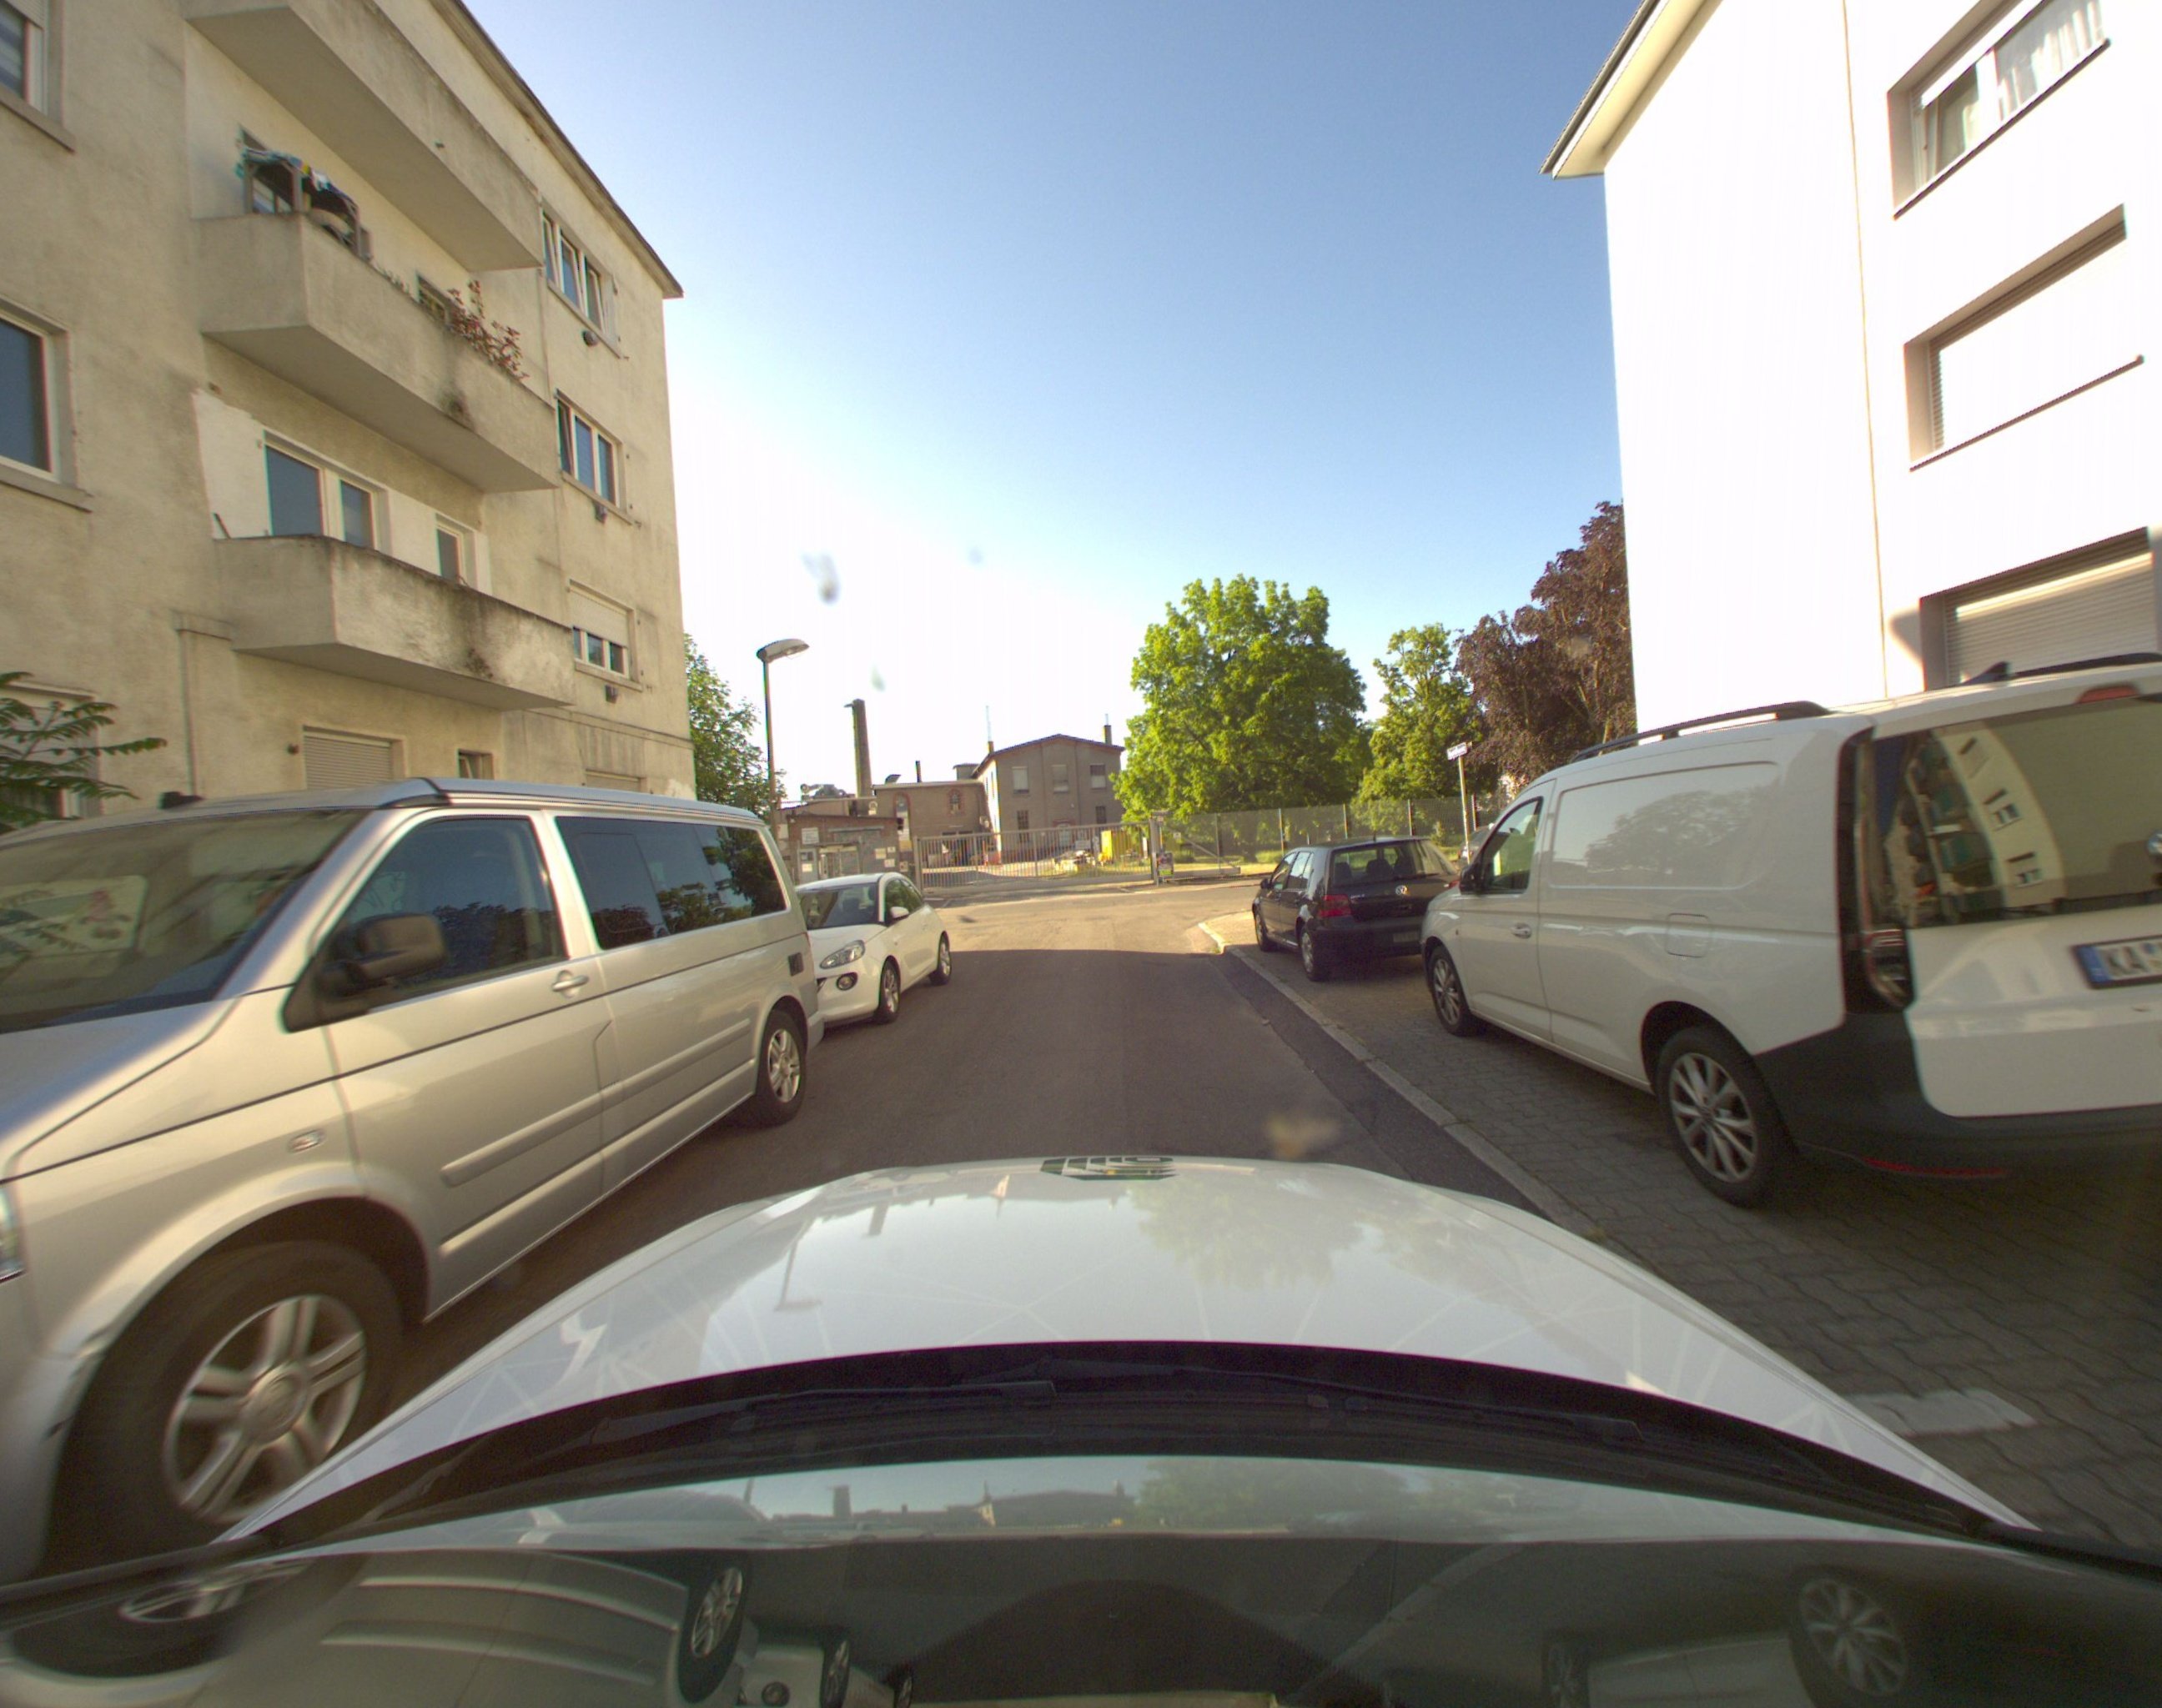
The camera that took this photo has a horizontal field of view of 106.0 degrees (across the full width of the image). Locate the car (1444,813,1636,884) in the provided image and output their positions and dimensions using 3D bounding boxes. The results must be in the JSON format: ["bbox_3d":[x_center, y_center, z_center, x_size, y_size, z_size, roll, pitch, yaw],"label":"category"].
[{"bbox_3d":[11.901,-0.152,21.272,4.060,1.548,1.623,-3,0,-1],"label":"car"}]

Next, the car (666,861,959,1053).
[{"bbox_3d":[-2.628,0.921,8.964,1.680,1.459,3.725,-5,0,3],"label":"car"}]

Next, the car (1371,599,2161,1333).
[{"bbox_3d":[3.226,0.215,4.360,1.790,1.845,4.544,-6,0,4],"label":"car"}]

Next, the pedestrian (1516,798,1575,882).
[{"bbox_3d":[10.210,-0.311,17.920,0.835,1.771,0.647,-4,1,0],"label":"pedestrian"}]

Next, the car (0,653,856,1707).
[{"bbox_3d":[-2.753,0.687,3.453,1.944,1.933,4.858,-6,0,2],"label":"car"}]

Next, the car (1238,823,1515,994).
[{"bbox_3d":[3.168,0.508,9.690,1.791,1.415,4.050,-6,0,1],"label":"car"}]
